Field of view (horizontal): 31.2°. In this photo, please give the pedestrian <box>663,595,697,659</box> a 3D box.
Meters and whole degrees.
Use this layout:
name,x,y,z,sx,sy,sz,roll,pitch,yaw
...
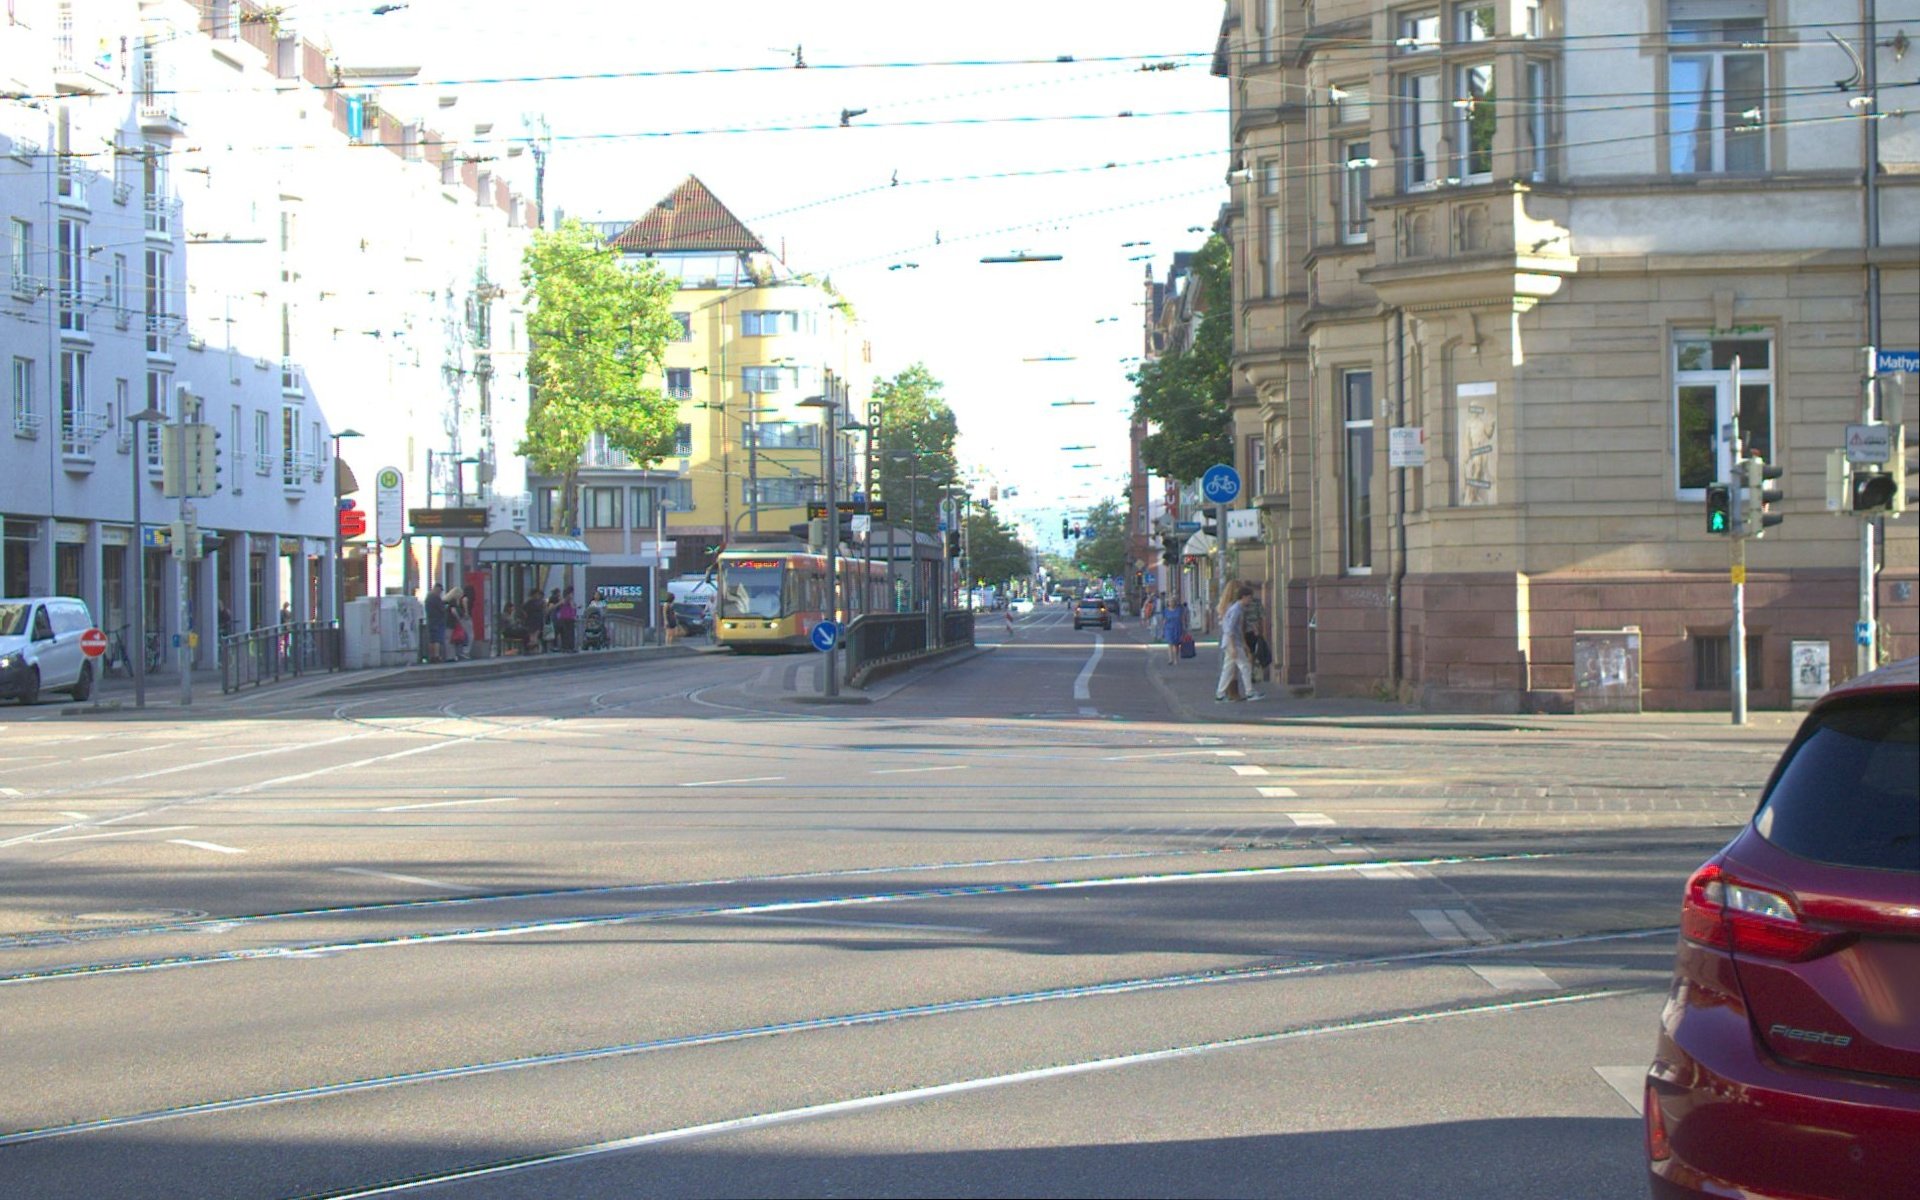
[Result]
name,x,y,z,sx,sy,sz,roll,pitch,yaw
pedestrian,-8.434,0.804,103.478,0.878,1.898,0.935,0,0,-13

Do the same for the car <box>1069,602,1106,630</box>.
name,x,y,z,sx,sy,sz,roll,pitch,yaw
car,6.801,0.850,183.324,1.993,1.444,4.000,0,0,2

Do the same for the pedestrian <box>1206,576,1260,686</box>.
name,x,y,z,sx,sy,sz,roll,pitch,yaw
pedestrian,4.627,0.526,58.368,0.801,1.818,0.797,-2,1,2

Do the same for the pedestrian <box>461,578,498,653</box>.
name,x,y,z,sx,sy,sz,roll,pitch,yaw
pedestrian,-10.873,0.360,77.795,0.695,1.685,0.672,0,0,-21

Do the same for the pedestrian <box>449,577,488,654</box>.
name,x,y,z,sx,sy,sz,roll,pitch,yaw
pedestrian,-10.880,0.349,76.062,0.695,1.685,0.672,0,0,-21

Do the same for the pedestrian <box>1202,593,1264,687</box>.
name,x,y,z,sx,sy,sz,roll,pitch,yaw
pedestrian,3.933,0.579,49.549,0.794,1.327,0.719,-2,-1,0

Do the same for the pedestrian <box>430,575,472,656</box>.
name,x,y,z,sx,sy,sz,roll,pitch,yaw
pedestrian,-10.921,0.334,73.724,0.765,1.727,0.519,-1,-1,44

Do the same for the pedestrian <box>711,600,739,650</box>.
name,x,y,z,sx,sy,sz,roll,pitch,yaw
pedestrian,-8.986,0.969,131.452,0.878,1.898,0.935,0,0,-13

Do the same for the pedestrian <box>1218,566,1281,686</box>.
name,x,y,z,sx,sy,sz,roll,pitch,yaw
pedestrian,4.226,0.388,50.266,0.794,1.715,0.719,-2,-1,0

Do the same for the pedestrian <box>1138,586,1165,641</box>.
name,x,y,z,sx,sy,sz,roll,pitch,yaw
pedestrian,6.299,0.443,113.000,0.713,1.768,0.773,-4,1,-1

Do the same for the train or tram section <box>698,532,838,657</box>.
name,x,y,z,sx,sy,sz,roll,pitch,yaw
train or tram section,-5.787,-0.097,106.235,2.885,3.478,14.166,-2,-1,2

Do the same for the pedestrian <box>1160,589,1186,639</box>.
name,x,y,z,sx,sy,sz,roll,pitch,yaw
pedestrian,7.030,0.447,113.297,0.713,1.597,0.773,-4,1,-1

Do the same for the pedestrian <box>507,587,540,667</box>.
name,x,y,z,sx,sy,sz,roll,pitch,yaw
pedestrian,-10.369,0.638,81.708,0.695,1.898,0.672,-1,0,0

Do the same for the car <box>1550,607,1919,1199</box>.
name,x,y,z,sx,sy,sz,roll,pitch,yaw
car,2.874,0.775,7.159,1.696,1.490,3.572,1,1,39

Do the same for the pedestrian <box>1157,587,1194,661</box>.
name,x,y,z,sx,sy,sz,roll,pitch,yaw
pedestrian,4.910,0.547,78.404,0.762,1.640,0.832,-2,1,2

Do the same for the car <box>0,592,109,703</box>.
name,x,y,z,sx,sy,sz,roll,pitch,yaw
car,-16.577,0.795,59.949,1.993,1.831,5.346,-1,0,2

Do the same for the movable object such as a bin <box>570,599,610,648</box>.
name,x,y,z,sx,sy,sz,roll,pitch,yaw
movable object such as a bin,-9.683,0.617,90.037,0.937,1.282,0.935,-1,0,0

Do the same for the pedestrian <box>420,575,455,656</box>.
name,x,y,z,sx,sy,sz,roll,pitch,yaw
pedestrian,-10.901,0.322,71.705,0.599,1.686,0.613,-1,0,3

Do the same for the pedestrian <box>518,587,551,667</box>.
name,x,y,z,sx,sy,sz,roll,pitch,yaw
pedestrian,-10.182,0.644,82.259,0.695,1.898,0.672,-1,0,0

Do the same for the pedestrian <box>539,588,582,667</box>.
name,x,y,z,sx,sy,sz,roll,pitch,yaw
pedestrian,-9.734,0.661,83.805,0.932,1.898,0.881,-1,0,0
